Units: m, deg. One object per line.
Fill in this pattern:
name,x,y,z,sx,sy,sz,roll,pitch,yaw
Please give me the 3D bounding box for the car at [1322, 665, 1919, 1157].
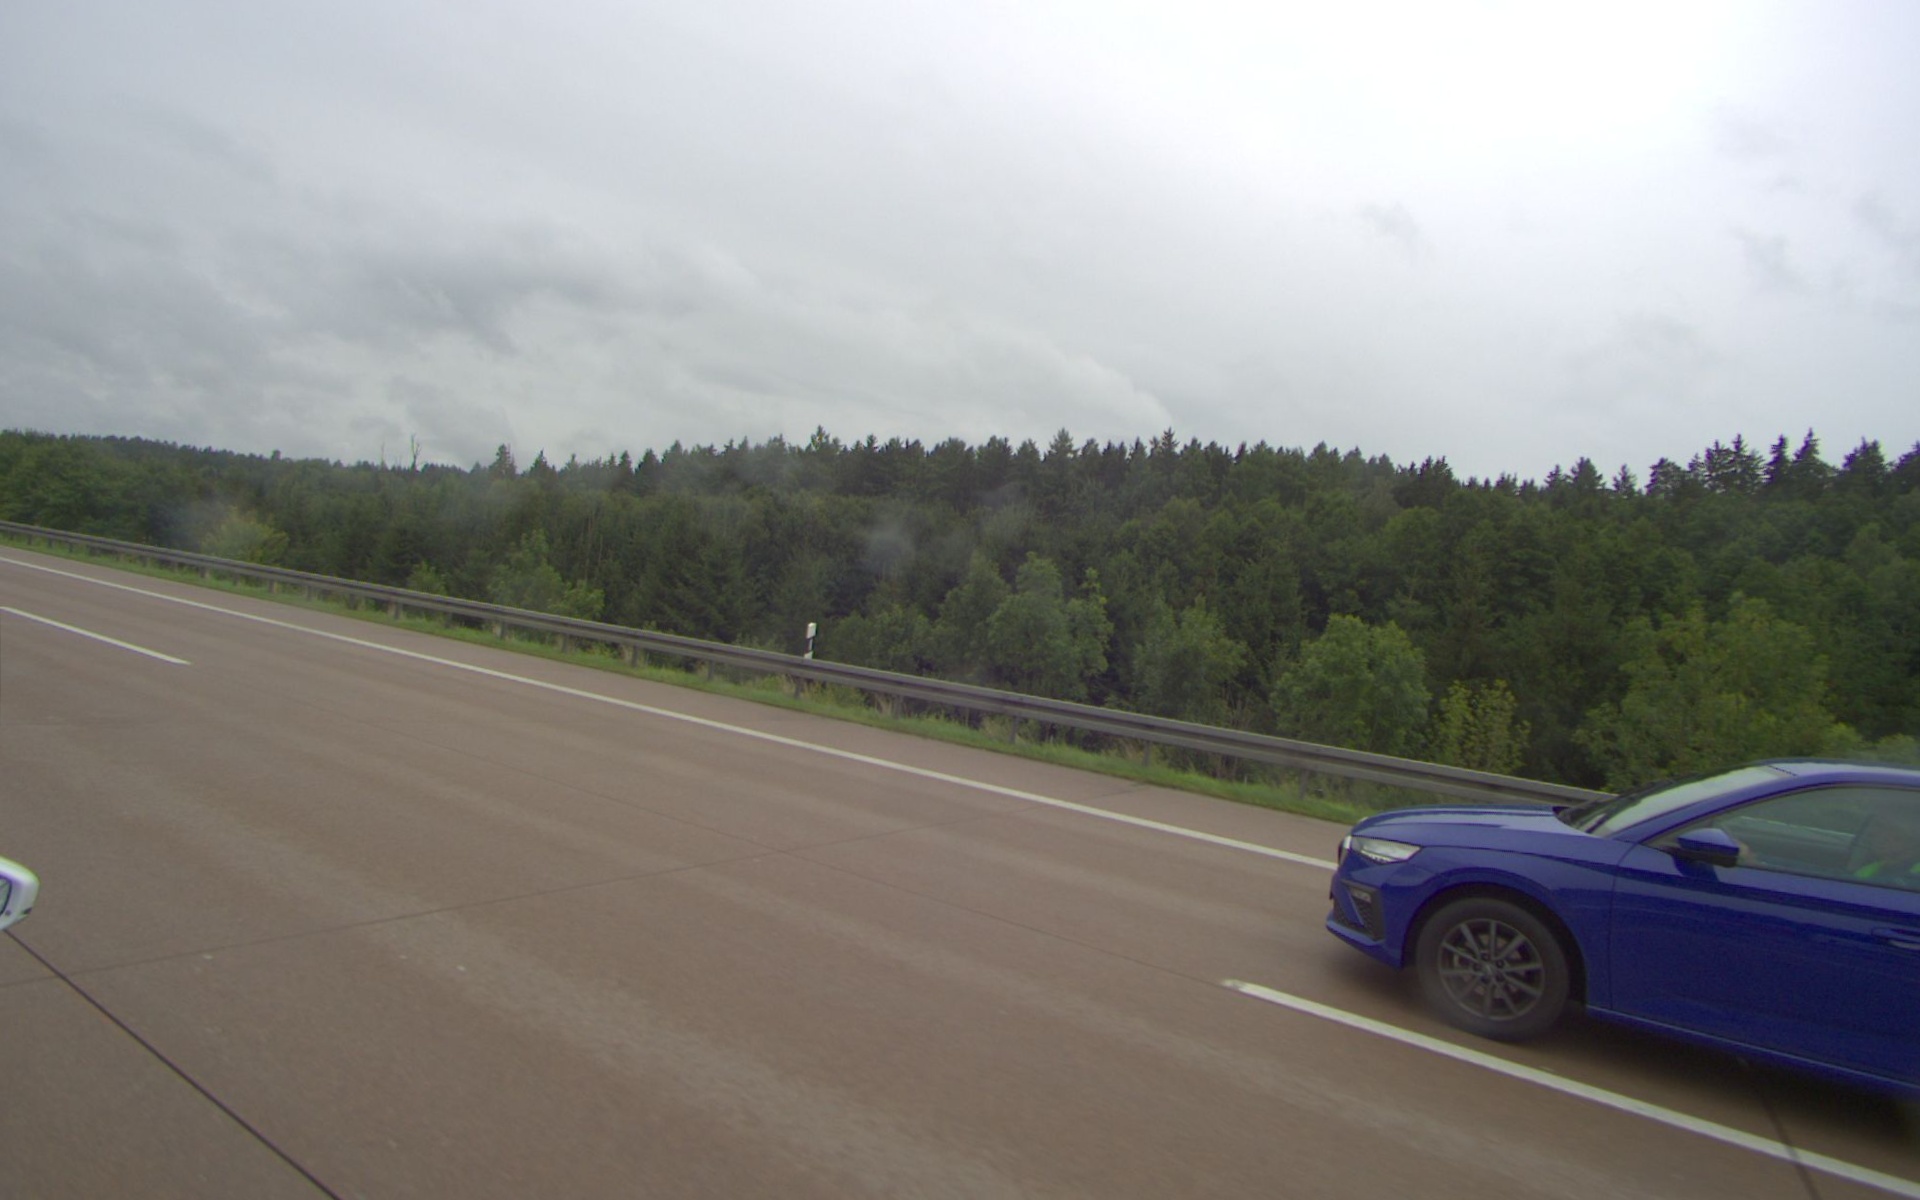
car,3.999,1.345,4.527,4.078,1.582,1.775,5,-2,31
